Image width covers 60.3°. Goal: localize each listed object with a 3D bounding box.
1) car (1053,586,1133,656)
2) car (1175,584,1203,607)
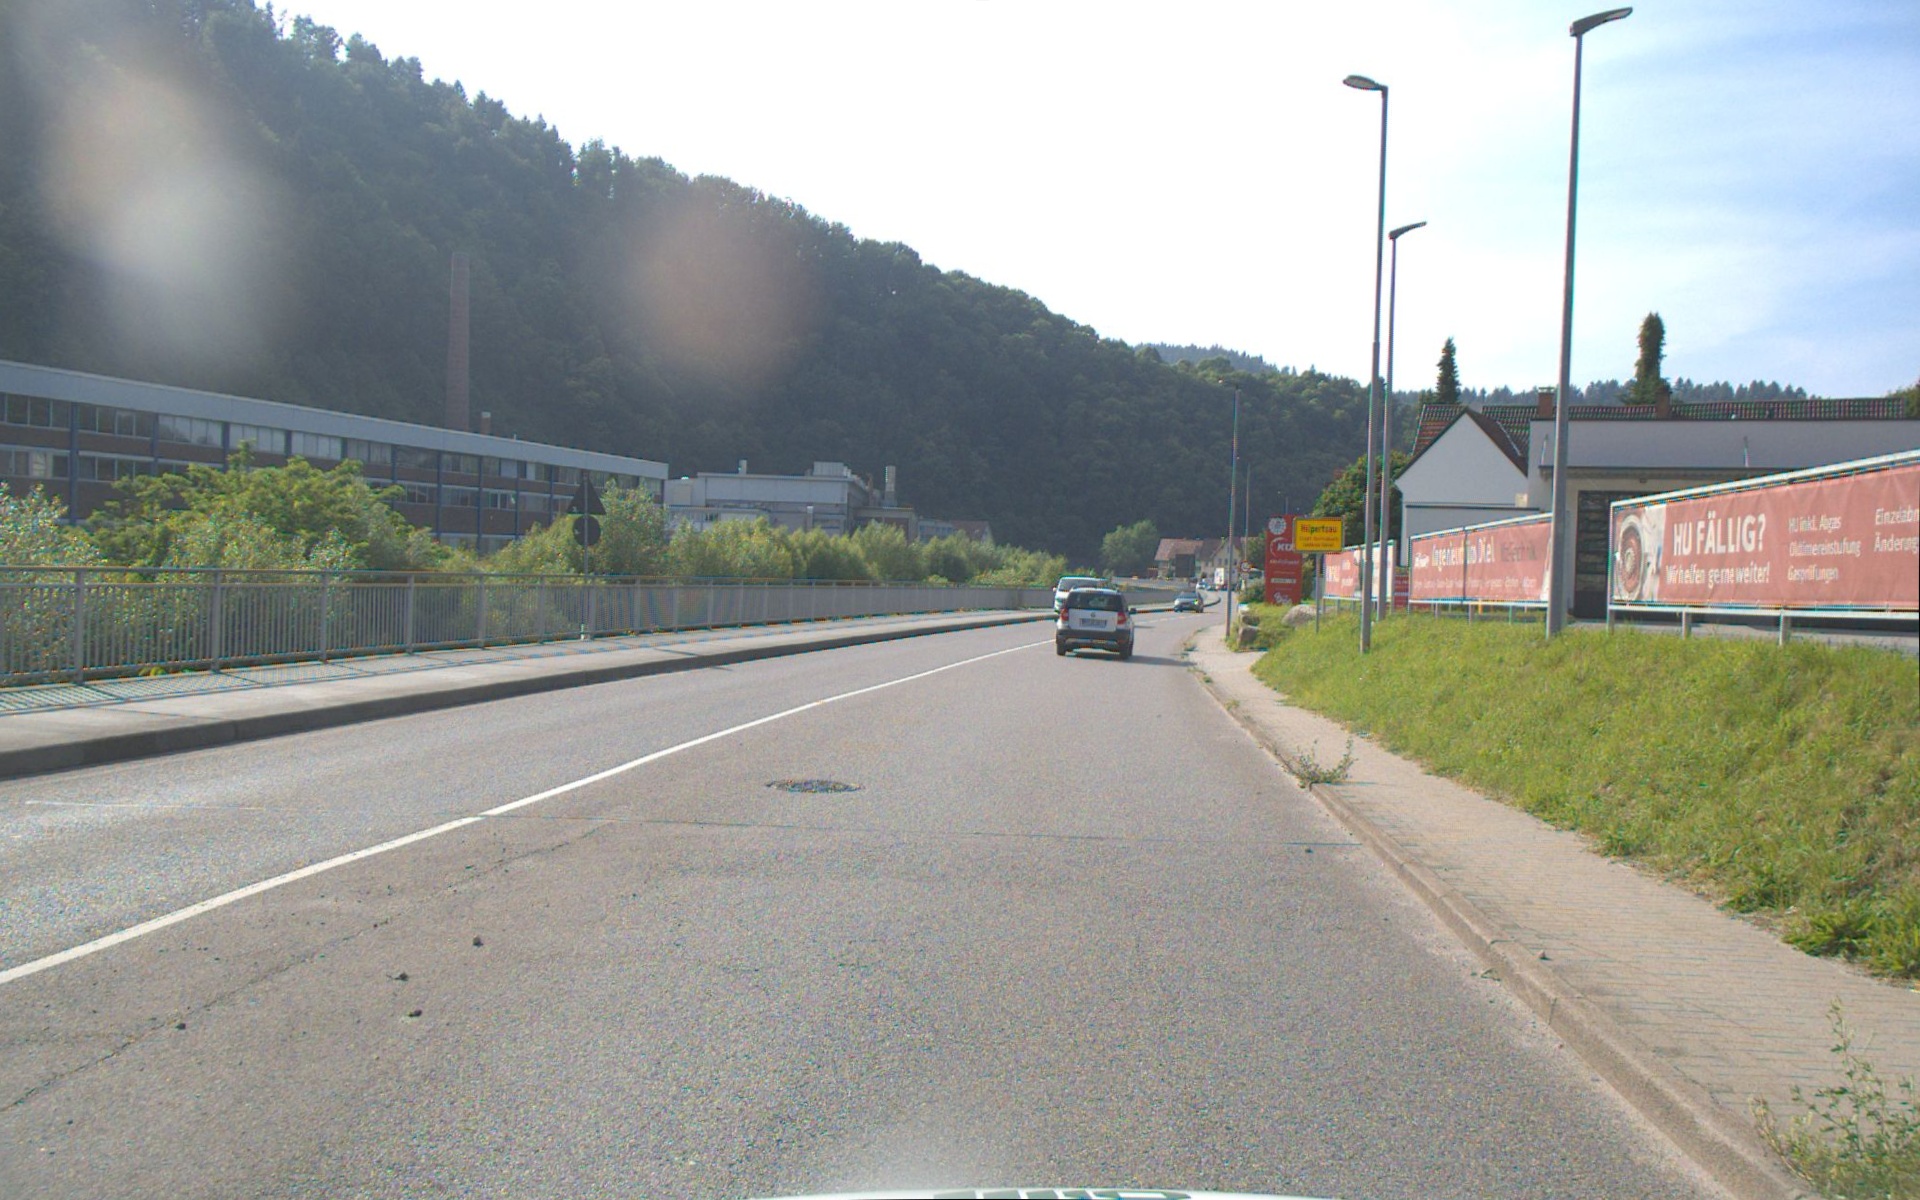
[{"bbox_3d":[3.252,0.472,40.916,1.822,1.571,4.375,2,1,3],"label":"car"},{"bbox_3d":[16.327,-0.335,117.831,1.774,1.510,4.802,2,0,10],"label":"car"}]
